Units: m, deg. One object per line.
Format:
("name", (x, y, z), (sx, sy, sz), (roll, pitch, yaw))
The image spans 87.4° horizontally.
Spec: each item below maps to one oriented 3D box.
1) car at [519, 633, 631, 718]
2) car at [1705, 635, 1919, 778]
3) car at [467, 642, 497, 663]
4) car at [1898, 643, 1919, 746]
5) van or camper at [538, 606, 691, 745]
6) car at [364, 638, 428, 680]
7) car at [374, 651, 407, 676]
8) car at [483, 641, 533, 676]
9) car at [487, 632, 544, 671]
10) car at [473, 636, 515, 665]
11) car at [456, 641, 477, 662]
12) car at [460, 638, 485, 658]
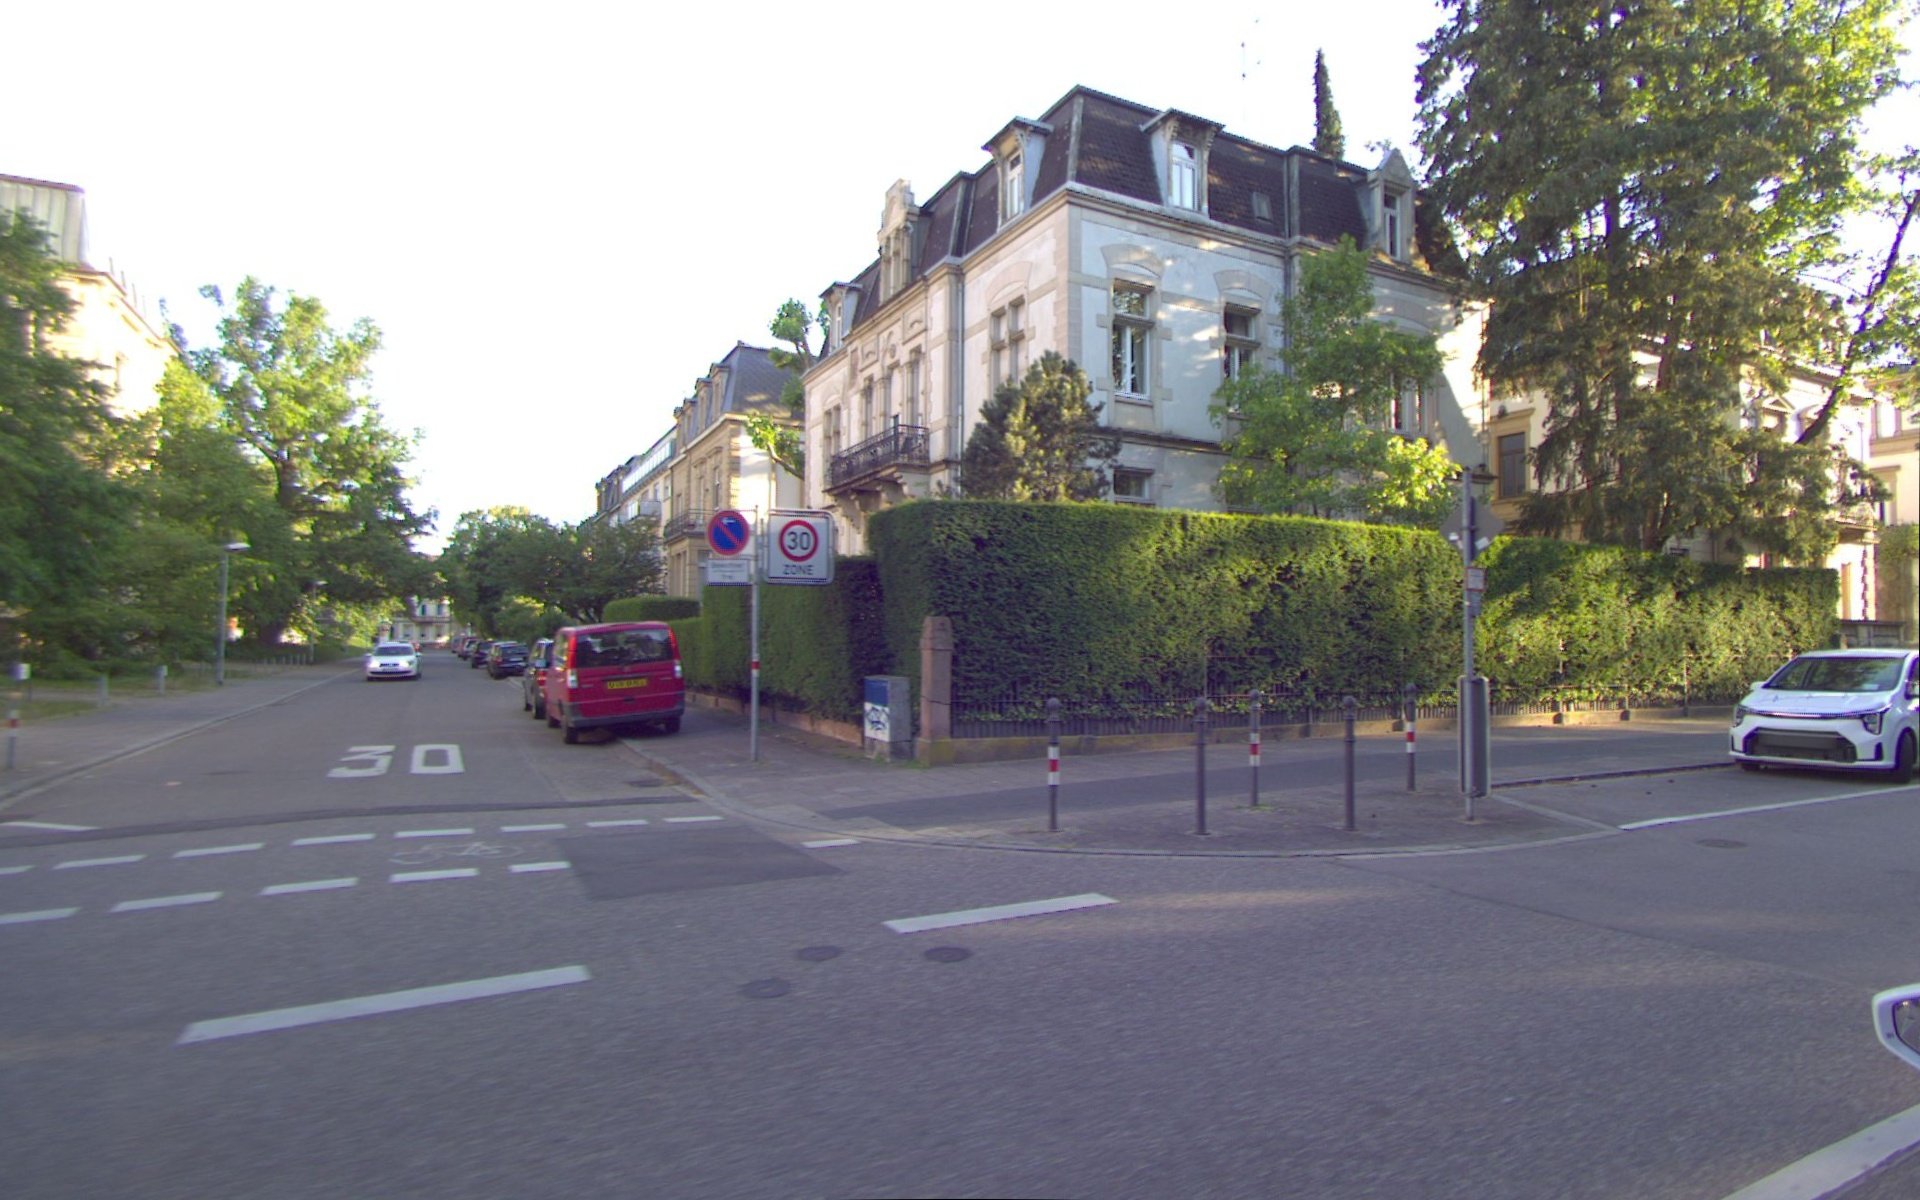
("car", (-8.626, 1.597, 22.331), (1.896, 1.695, 3.973), (2, -2, -27))
("car", (11.067, 1.264, 12.425), (3.668, 1.534, 1.607), (2, -5, -30))
("car", (-38.758, 4.226, 81.355), (1.975, 1.599, 3.971), (2, -3, -28))
("car", (15.920, 1.425, 15.068), (3.696, 1.504, 1.607), (2, -3, -29))
("van or camper", (-6.231, 1.223, 17.739), (1.973, 2.012, 4.755), (-3, -1, -25))
("car", (-22.696, 2.337, 40.535), (1.974, 1.594, 3.974), (1, -3, -26))
("car", (-36.011, 4.004, 63.588), (1.662, 1.479, 3.971), (2, -3, -28))
("car", (-22.230, 2.843, 49.323), (1.975, 1.599, 3.971), (2, -3, -28))
("car", (-19.540, 2.246, 44.094), (1.975, 1.599, 3.971), (2, -3, -28))
("car", (-27.593, 2.967, 59.395), (1.975, 1.599, 3.971), (2, -3, -28))
("car", (-62.875, 6.555, 128.009), (2.291, 2.476, 4.660), (2, -1, -27))
("car", (-45.124, 4.442, 92.897), (1.836, 1.639, 3.970), (2, -1, -29))
